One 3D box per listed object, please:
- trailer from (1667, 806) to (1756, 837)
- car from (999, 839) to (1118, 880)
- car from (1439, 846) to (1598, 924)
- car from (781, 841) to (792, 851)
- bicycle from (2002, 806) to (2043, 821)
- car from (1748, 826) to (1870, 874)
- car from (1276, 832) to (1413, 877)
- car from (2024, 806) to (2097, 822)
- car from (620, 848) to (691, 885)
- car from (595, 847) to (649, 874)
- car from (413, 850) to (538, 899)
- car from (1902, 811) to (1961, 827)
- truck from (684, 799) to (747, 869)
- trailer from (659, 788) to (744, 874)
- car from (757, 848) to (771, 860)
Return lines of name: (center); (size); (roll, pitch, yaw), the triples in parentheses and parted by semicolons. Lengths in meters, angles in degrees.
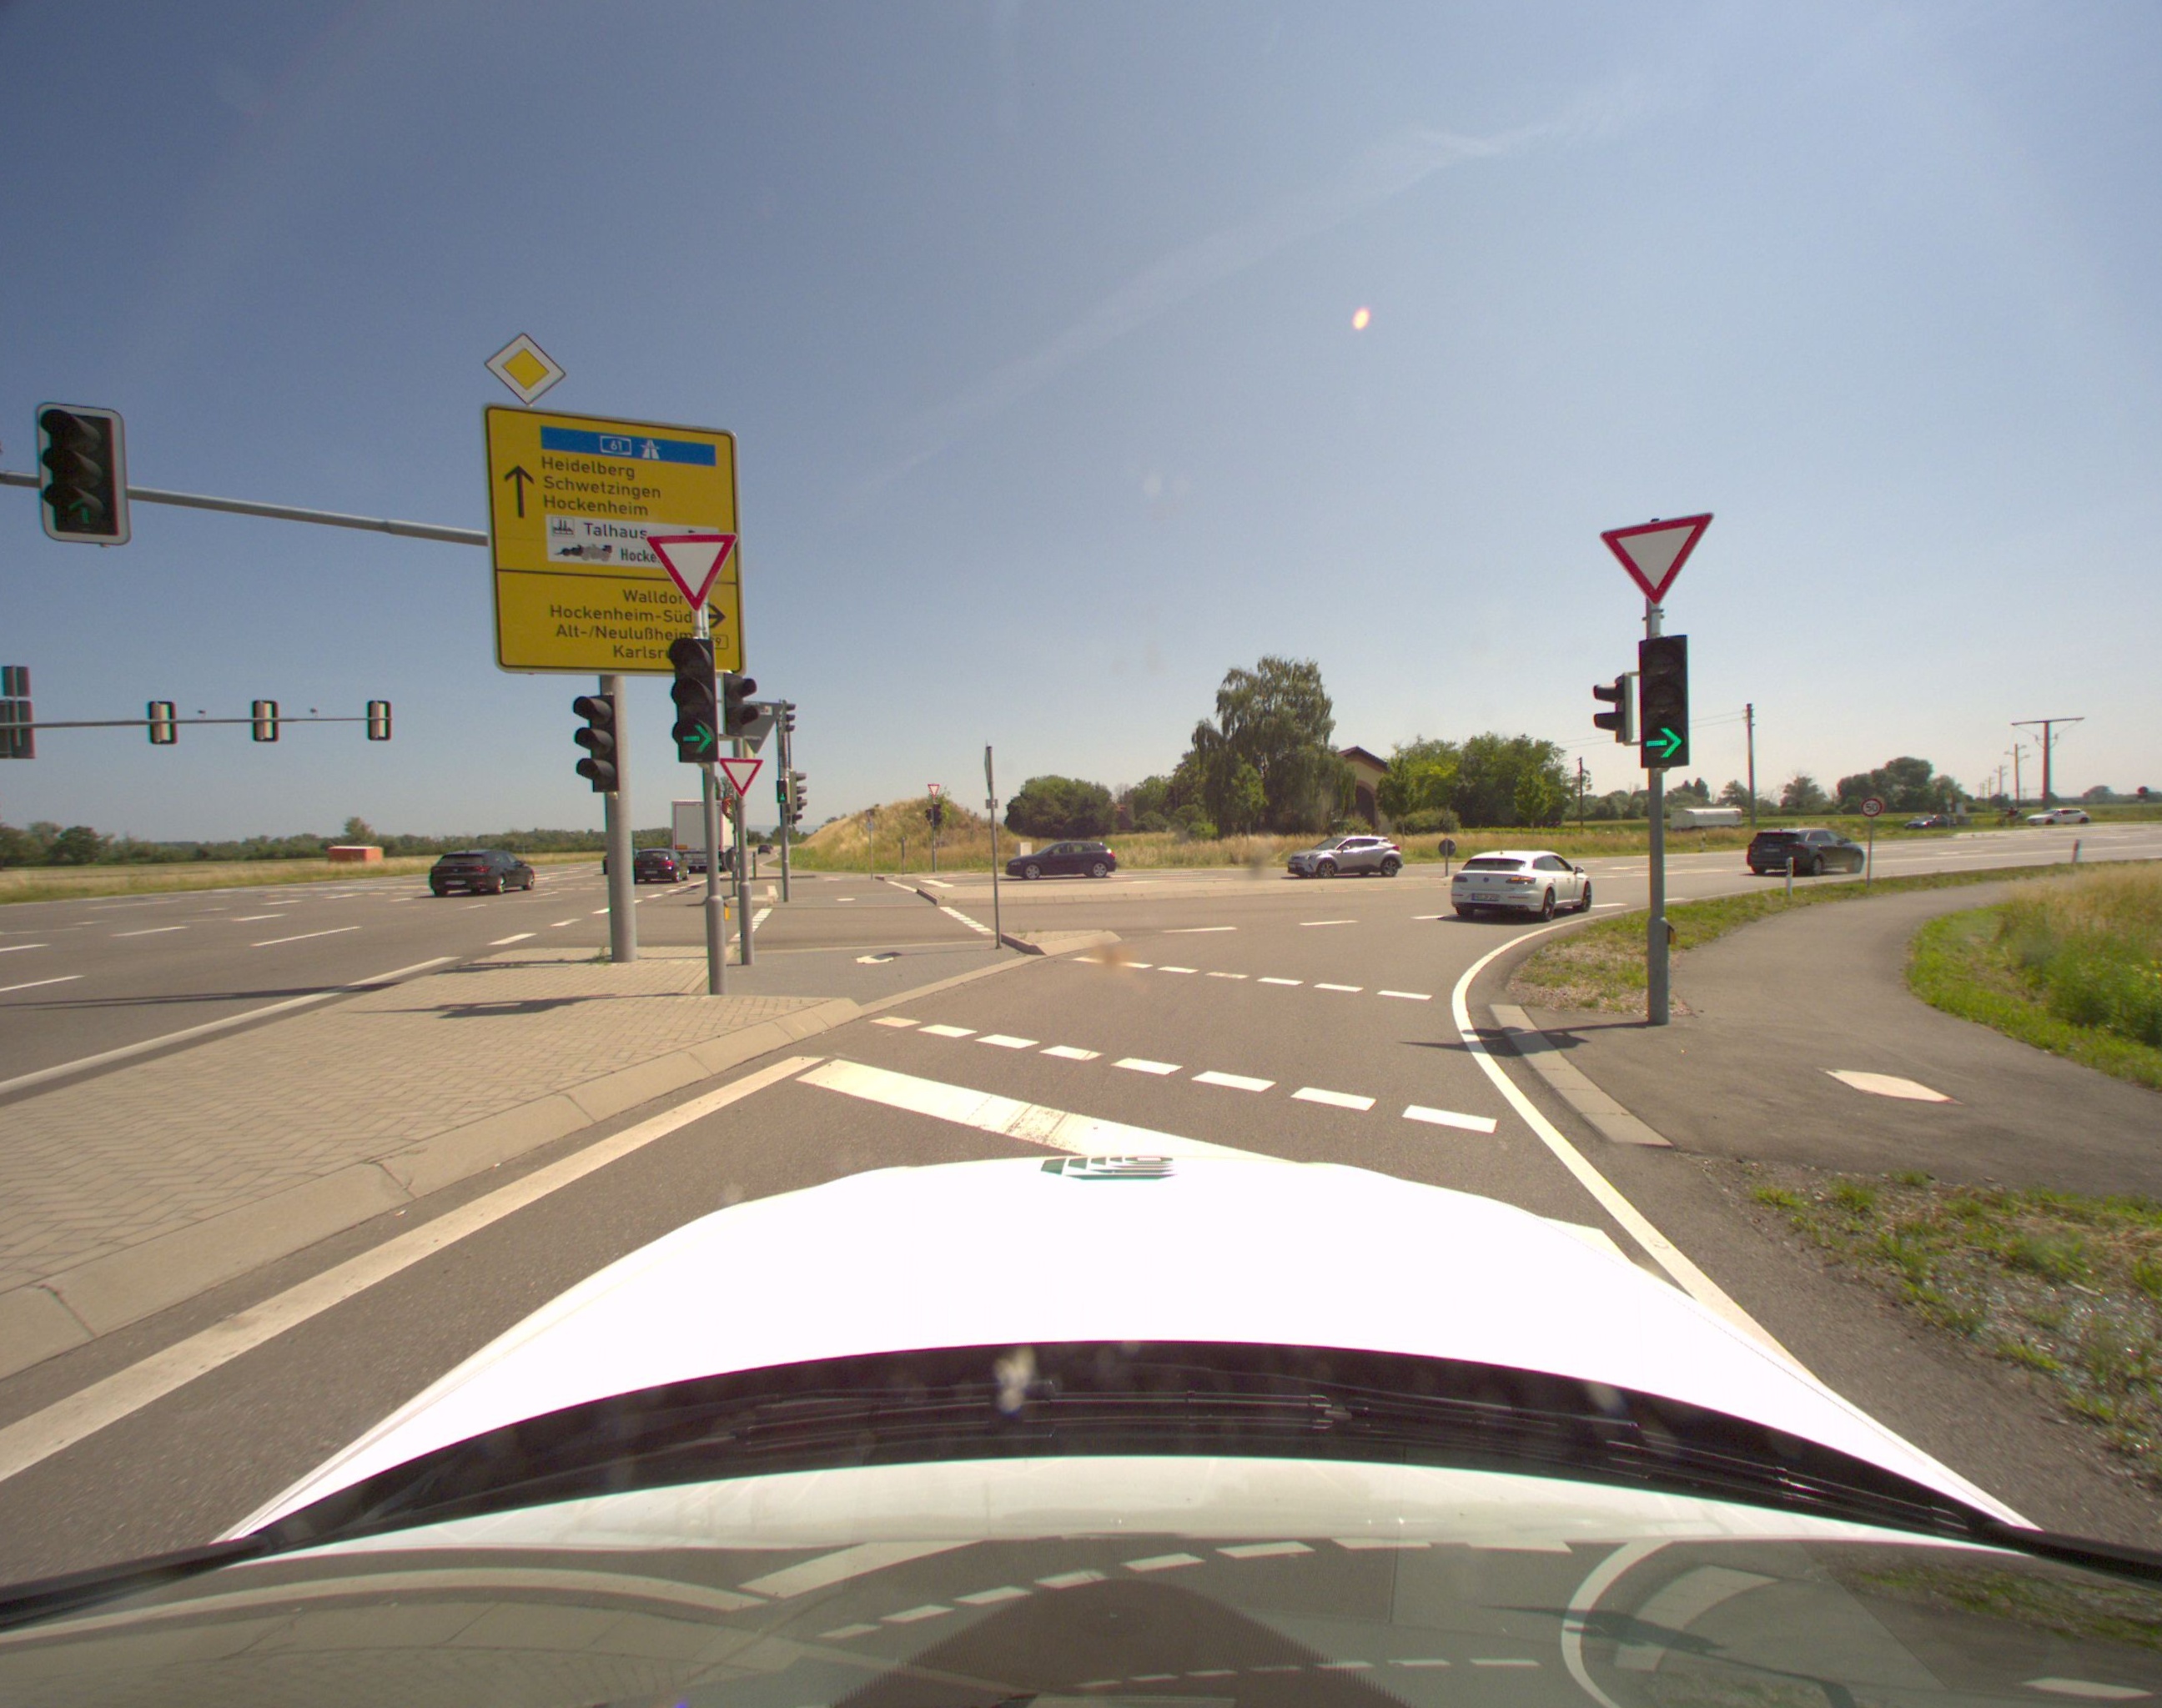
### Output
trailer: (54.743, -2.844, 70.722); (6.367, 2.455, 2.676); (-2, 2, -12)
car: (-0.878, 0.176, 31.147); (4.265, 1.368, 1.768); (-2, 2, -14)
car: (9.730, 0.574, 17.939); (4.635, 1.433, 1.831); (-1, 2, -45)
car: (-55.671, -1.508, 154.060); (1.987, 1.869, 4.437); (-1, 0, -20)
bicycle: (96.037, -4.116, 83.073); (0.904, 1.372, 2.594); (0, -1, -27)
car: (26.551, -0.164, 29.692); (4.389, 1.616, 1.923); (-1, 0, -28)
car: (9.679, -0.012, 29.992); (4.545, 1.543, 1.862); (0, 2, -16)
car: (88.463, -3.592, 73.582); (3.997, 1.332, 1.703); (0, 3, 12)
car: (-17.803, 0.480, 34.291); (1.788, 1.430, 4.357); (0, 1, -16)
car: (-25.554, 0.352, 45.448); (1.679, 1.411, 4.441); (-1, 0, -17)
car: (-19.656, 0.599, 26.707); (1.894, 1.447, 4.499); (-1, 0, -18)
car: (74.971, -3.067, 71.818); (3.824, 1.387, 1.675); (-1, 2, -9)
truck: (-25.135, -1.328, 56.317); (3.391, 4.542, 6.332); (0, 0, -19)
trailer: (-22.876, -1.271, 49.855); (3.392, 4.542, 12.788); (0, 0, -19)
car: (-51.254, -0.030, 131.782); (1.987, 1.893, 4.437); (-1, 0, -20)
